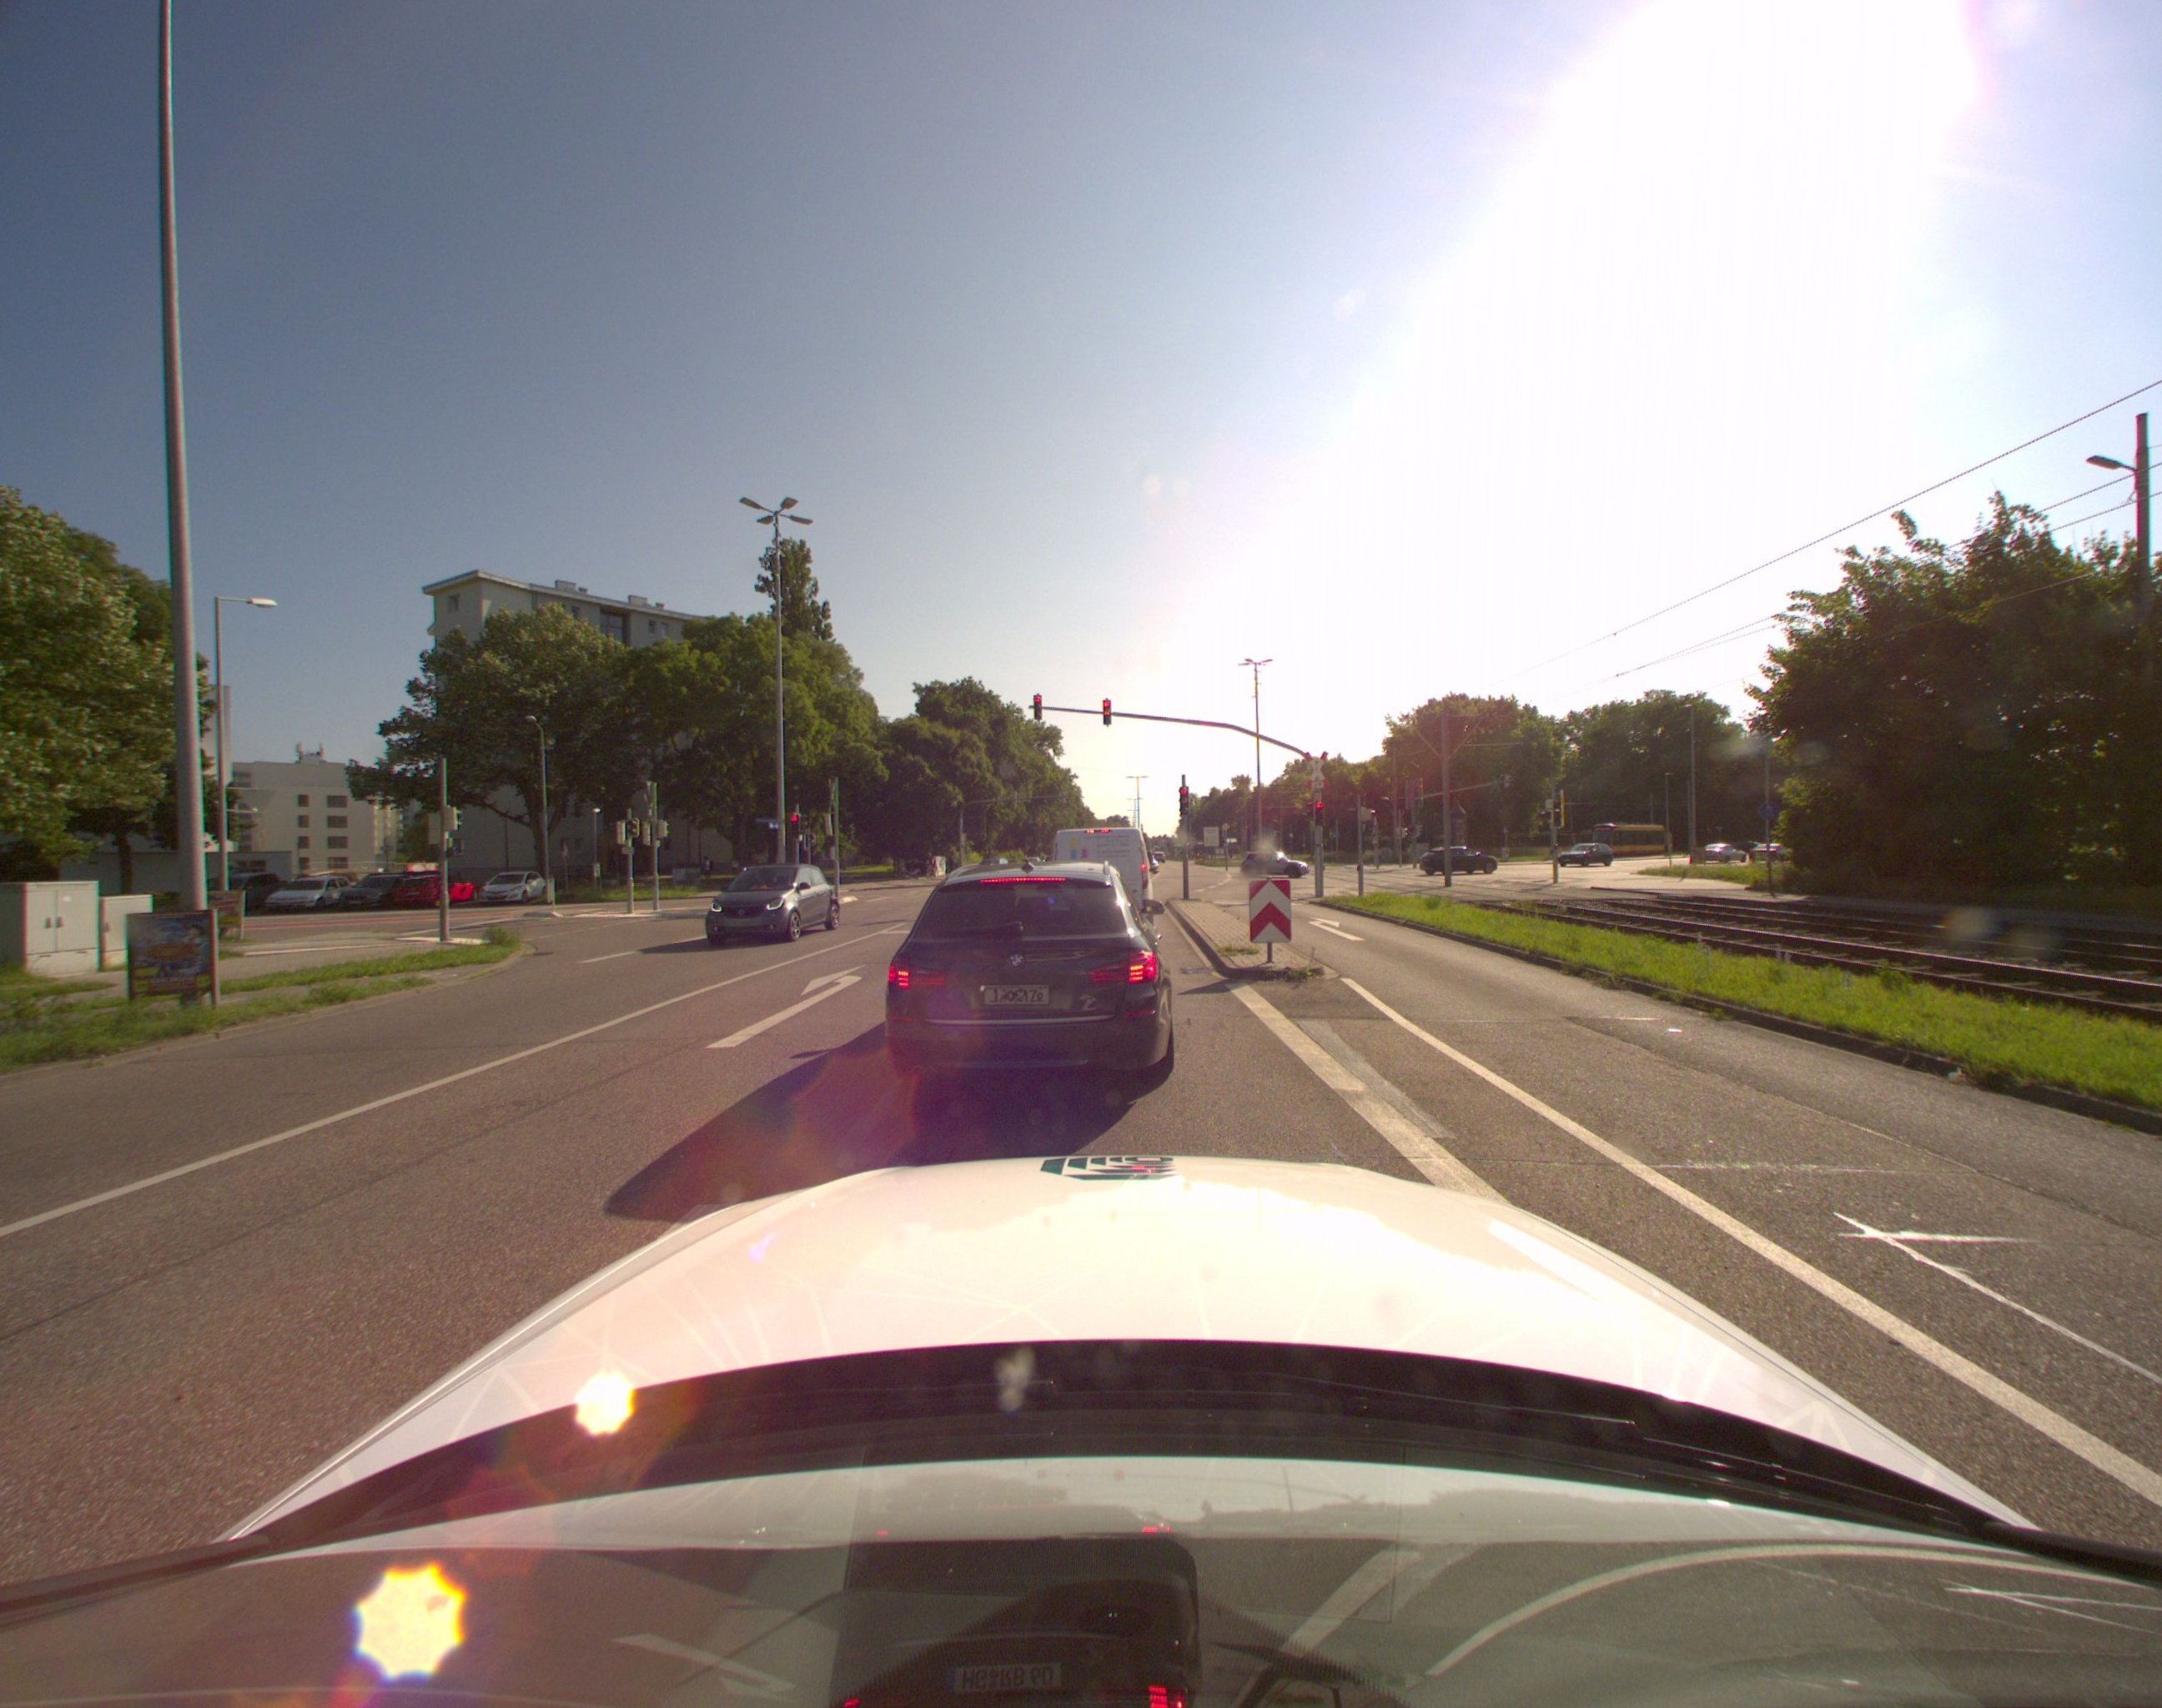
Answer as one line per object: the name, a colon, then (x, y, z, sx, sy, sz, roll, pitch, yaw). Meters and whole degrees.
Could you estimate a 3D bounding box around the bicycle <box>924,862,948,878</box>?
bicycle: (-9.825, 1.091, 55.215, 0.614, 1.040, 2.082, -1, 0, 20)

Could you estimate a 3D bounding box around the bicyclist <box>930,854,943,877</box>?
bicyclist: (-9.813, 0.758, 55.271, 0.602, 1.560, 0.606, -1, 0, 19)

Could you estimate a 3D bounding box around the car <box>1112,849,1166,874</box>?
car: (3.878, 0.483, 54.822, 1.858, 1.562, 4.171, -1, 0, -24)

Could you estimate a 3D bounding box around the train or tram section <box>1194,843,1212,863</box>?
train or tram section: (23.120, -0.206, 155.135, 2.782, 3.618, 12.976, 0, 0, 6)

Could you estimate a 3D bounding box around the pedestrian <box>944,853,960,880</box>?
pedestrian: (-8.664, 0.837, 54.845, 0.811, 1.752, 0.933, -1, 0, 7)

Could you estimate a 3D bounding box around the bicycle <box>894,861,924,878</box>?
bicycle: (-11.633, 1.043, 55.086, 1.902, 1.119, 0.632, -1, 0, 1)

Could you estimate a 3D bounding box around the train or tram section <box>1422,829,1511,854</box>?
train or tram section: (60.010, -1.841, 126.947, 12.072, 3.579, 3.073, -1, 0, 38)

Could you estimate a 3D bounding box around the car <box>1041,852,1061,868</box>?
car: (-3.146, 0.631, 86.279, 1.738, 1.562, 4.003, -3, 0, 3)

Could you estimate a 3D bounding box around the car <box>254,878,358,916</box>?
car: (-35.413, 1.923, 37.360, 1.783, 1.521, 3.977, -1, 0, -16)

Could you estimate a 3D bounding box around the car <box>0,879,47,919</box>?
car: (-46.078, 2.007, 33.673, 1.785, 1.476, 4.686, -1, 3, -19)

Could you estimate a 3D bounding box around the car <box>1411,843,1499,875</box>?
car: (21.874, 0.272, 47.699, 4.612, 1.722, 1.642, -2, 0, -13)

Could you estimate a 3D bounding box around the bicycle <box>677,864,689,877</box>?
bicycle: (-32.679, 1.365, 66.932, 0.615, 1.066, 1.896, 0, -2, -34)

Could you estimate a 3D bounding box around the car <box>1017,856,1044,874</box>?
car: (-4.442, 0.933, 72.075, 1.694, 1.465, 4.375, -3, 0, 5)

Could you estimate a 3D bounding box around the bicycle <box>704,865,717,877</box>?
bicycle: (-31.023, 1.431, 68.235, 0.673, 0.919, 2.382, -1, 0, -33)

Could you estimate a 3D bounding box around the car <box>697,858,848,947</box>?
car: (-6.349, 0.927, 17.211, 1.627, 1.560, 3.678, -3, 0, 2)

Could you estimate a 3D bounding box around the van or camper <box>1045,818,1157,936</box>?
van or camper: (0.497, 0.409, 16.996, 1.985, 2.096, 4.602, -1, 0, 3)

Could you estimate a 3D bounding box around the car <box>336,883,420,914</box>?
car: (-32.773, 2.043, 38.093, 1.463, 1.193, 3.767, -1, 0, -15)

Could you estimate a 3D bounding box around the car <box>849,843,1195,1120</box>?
car: (-0.261, 0.708, 6.569, 1.896, 1.506, 4.067, -1, 0, 2)

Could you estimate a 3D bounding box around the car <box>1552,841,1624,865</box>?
car: (35.958, -0.073, 57.749, 4.871, 1.562, 2.027, -1, 0, -26)

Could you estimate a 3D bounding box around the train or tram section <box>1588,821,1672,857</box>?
train or tram section: (57.982, -1.568, 85.918, 11.898, 3.579, 3.022, -1, 0, -34)

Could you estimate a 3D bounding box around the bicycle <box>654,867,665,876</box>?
bicycle: (-34.306, 1.424, 66.242, 0.587, 0.708, 2.215, -1, 0, -33)

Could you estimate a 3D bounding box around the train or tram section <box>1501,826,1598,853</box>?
train or tram section: (67.345, -1.977, 117.559, 3.064, 3.579, 12.108, -1, 0, -31)

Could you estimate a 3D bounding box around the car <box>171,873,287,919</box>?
car: (-38.059, 1.817, 36.526, 1.783, 1.811, 3.977, -1, 0, -16)

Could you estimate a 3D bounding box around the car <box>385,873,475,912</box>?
car: (-30.887, 1.772, 38.782, 1.782, 1.415, 3.982, -1, 4, -14)

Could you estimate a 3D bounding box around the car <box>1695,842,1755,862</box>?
car: (48.202, -0.164, 60.959, 4.422, 1.354, 1.981, -1, 0, -29)

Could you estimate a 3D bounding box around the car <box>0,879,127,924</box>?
car: (-44.365, 2.001, 35.227, 1.785, 1.477, 4.785, -1, 3, -19)

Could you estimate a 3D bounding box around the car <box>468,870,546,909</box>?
car: (-27.871, 1.680, 39.666, 1.783, 1.439, 3.980, -1, 3, -15)

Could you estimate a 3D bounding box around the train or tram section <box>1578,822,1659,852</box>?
train or tram section: (69.667, -2.064, 106.051, 3.031, 3.579, 12.241, -1, 0, 3)

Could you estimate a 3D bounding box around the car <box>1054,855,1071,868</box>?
car: (-2.219, 0.835, 98.946, 1.882, 1.474, 4.099, -2, 0, 0)

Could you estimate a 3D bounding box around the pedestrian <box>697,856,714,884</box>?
pedestrian: (-23.350, 0.992, 50.708, 0.619, 1.713, 0.707, -1, 0, 14)

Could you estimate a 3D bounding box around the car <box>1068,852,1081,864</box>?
car: (-0.922, 0.539, 114.189, 1.783, 1.520, 4.000, -2, 0, 0)

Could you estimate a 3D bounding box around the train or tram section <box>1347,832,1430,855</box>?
train or tram section: (50.401, -1.669, 133.842, 12.279, 3.579, 3.073, -1, 0, 33)

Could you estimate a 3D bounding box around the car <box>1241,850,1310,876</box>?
car: (11.020, 0.512, 46.089, 3.485, 1.383, 1.616, -1, 0, 26)

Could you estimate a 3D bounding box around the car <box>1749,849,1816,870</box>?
car: (49.805, 0.381, 57.830, 4.415, 1.354, 1.984, -1, 0, -25)

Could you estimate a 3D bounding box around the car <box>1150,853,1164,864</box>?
car: (11.299, 0.666, 121.300, 1.787, 1.486, 3.899, -1, 0, 0)

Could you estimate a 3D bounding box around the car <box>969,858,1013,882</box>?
car: (-5.620, 0.978, 51.389, 1.770, 1.414, 4.253, -1, 0, 7)

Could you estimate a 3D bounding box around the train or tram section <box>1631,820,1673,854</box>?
train or tram section: (66.109, -1.915, 94.572, 3.015, 3.579, 12.308, -1, 0, 31)
